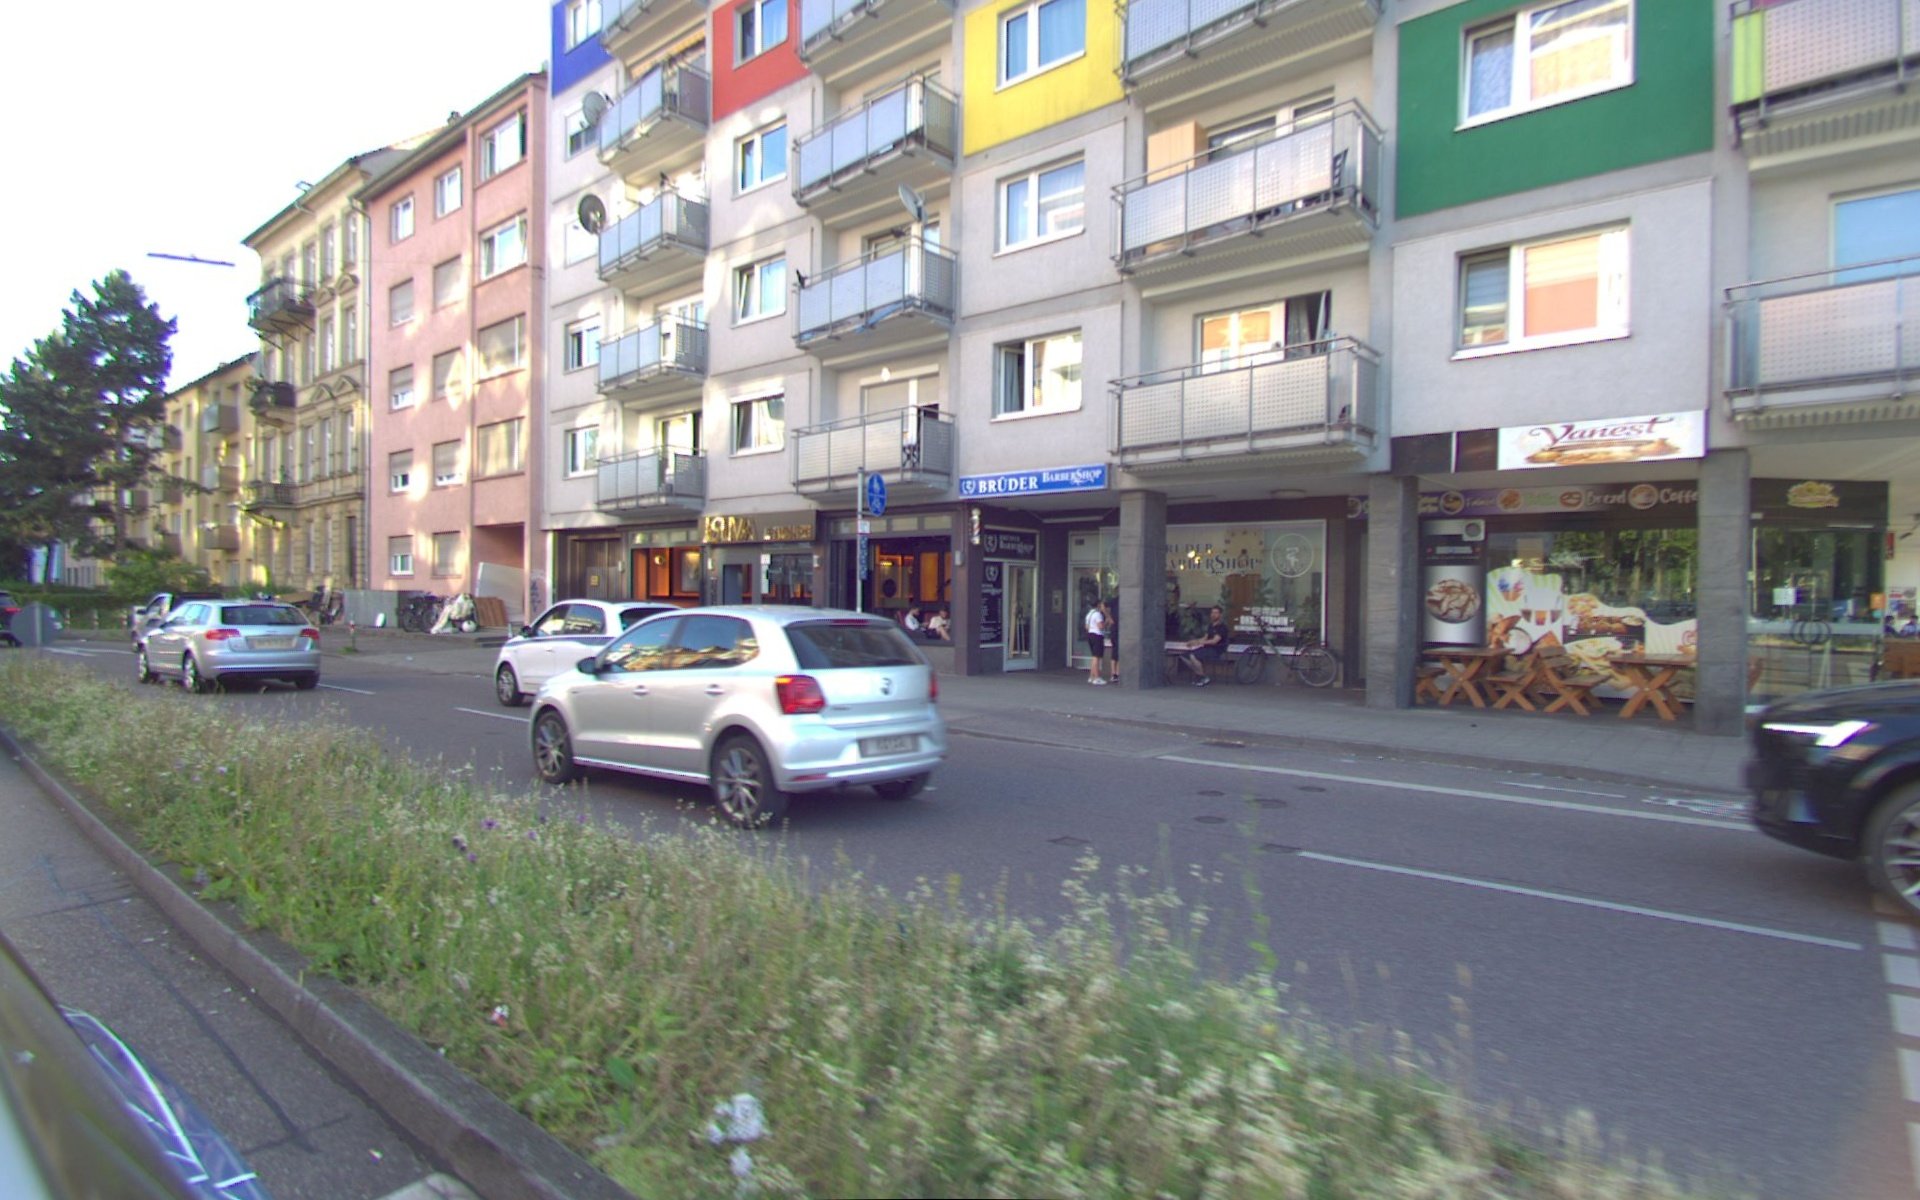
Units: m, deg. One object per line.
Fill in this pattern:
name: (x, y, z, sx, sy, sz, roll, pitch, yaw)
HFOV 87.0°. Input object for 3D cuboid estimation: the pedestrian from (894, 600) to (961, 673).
pedestrian: (-0.627, 0.680, 19.476, 0.882, 1.356, 0.961, 0, 0, 41)

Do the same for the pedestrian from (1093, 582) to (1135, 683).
pedestrian: (2.640, 0.547, 17.404, 0.650, 1.685, 0.625, 0, 0, 5)

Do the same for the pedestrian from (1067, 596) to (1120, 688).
pedestrian: (2.208, 0.670, 16.734, 0.657, 1.478, 0.618, 0, 0, 35)

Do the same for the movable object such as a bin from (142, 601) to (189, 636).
movable object such as a bin: (-29.065, 0.662, 37.037, 0.836, 1.242, 1.195, 0, 0, -7)

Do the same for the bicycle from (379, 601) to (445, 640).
bicycle: (-17.064, 0.625, 31.526, 0.473, 1.200, 1.758, 0, 0, 38)

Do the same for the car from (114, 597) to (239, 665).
car: (-19.801, 0.760, 25.577, 2.797, 1.605, 1.524, 0, -2, 30)

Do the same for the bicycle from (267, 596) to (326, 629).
bicycle: (-24.462, 0.445, 37.317, 0.473, 1.200, 1.758, 0, 0, 38)

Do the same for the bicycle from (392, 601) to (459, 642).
bicycle: (-16.140, 0.632, 30.587, 0.473, 1.200, 1.758, 0, 0, 38)

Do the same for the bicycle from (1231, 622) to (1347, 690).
bicycle: (5.341, 0.885, 16.440, 1.692, 1.006, 0.620, 1, 0, 32)

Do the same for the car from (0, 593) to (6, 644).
car: (-33.189, 0.575, 32.870, 4.076, 1.641, 1.712, 0, -1, 23)

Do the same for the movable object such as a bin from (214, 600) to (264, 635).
movable object such as a bin: (-26.344, 0.642, 37.001, 0.916, 1.242, 1.292, 0, 0, 1)

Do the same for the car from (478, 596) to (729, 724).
car: (-5.019, 0.751, 14.066, 3.635, 1.556, 1.658, 0, -2, 40)

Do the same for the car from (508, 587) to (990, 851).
car: (-1.774, 0.730, 7.857, 3.803, 1.556, 1.658, 0, -2, 40)

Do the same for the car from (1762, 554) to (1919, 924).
car: (6.441, 0.667, 4.251, 4.782, 1.724, 1.797, 0, -2, 40)

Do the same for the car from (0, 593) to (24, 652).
car: (-27.199, 0.574, 27.501, 4.091, 1.556, 1.661, 0, -2, 34)

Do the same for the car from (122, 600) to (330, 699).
car: (-12.132, 0.744, 16.645, 4.097, 1.436, 1.692, 0, -2, 38)

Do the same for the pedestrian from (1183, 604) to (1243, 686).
pedestrian: (4.165, 0.735, 16.686, 0.799, 1.323, 0.626, 0, 0, -2)

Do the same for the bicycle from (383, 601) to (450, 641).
bicycle: (-16.679, 0.632, 31.085, 0.473, 1.200, 1.758, 0, 0, 38)

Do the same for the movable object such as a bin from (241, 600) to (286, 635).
movable object such as a bin: (-25.416, 0.639, 36.942, 0.837, 1.242, 1.193, 0, 0, 1)

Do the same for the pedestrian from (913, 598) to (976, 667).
pedestrian: (-0.313, 0.649, 20.786, 0.974, 1.356, 0.871, 0, 0, 41)
